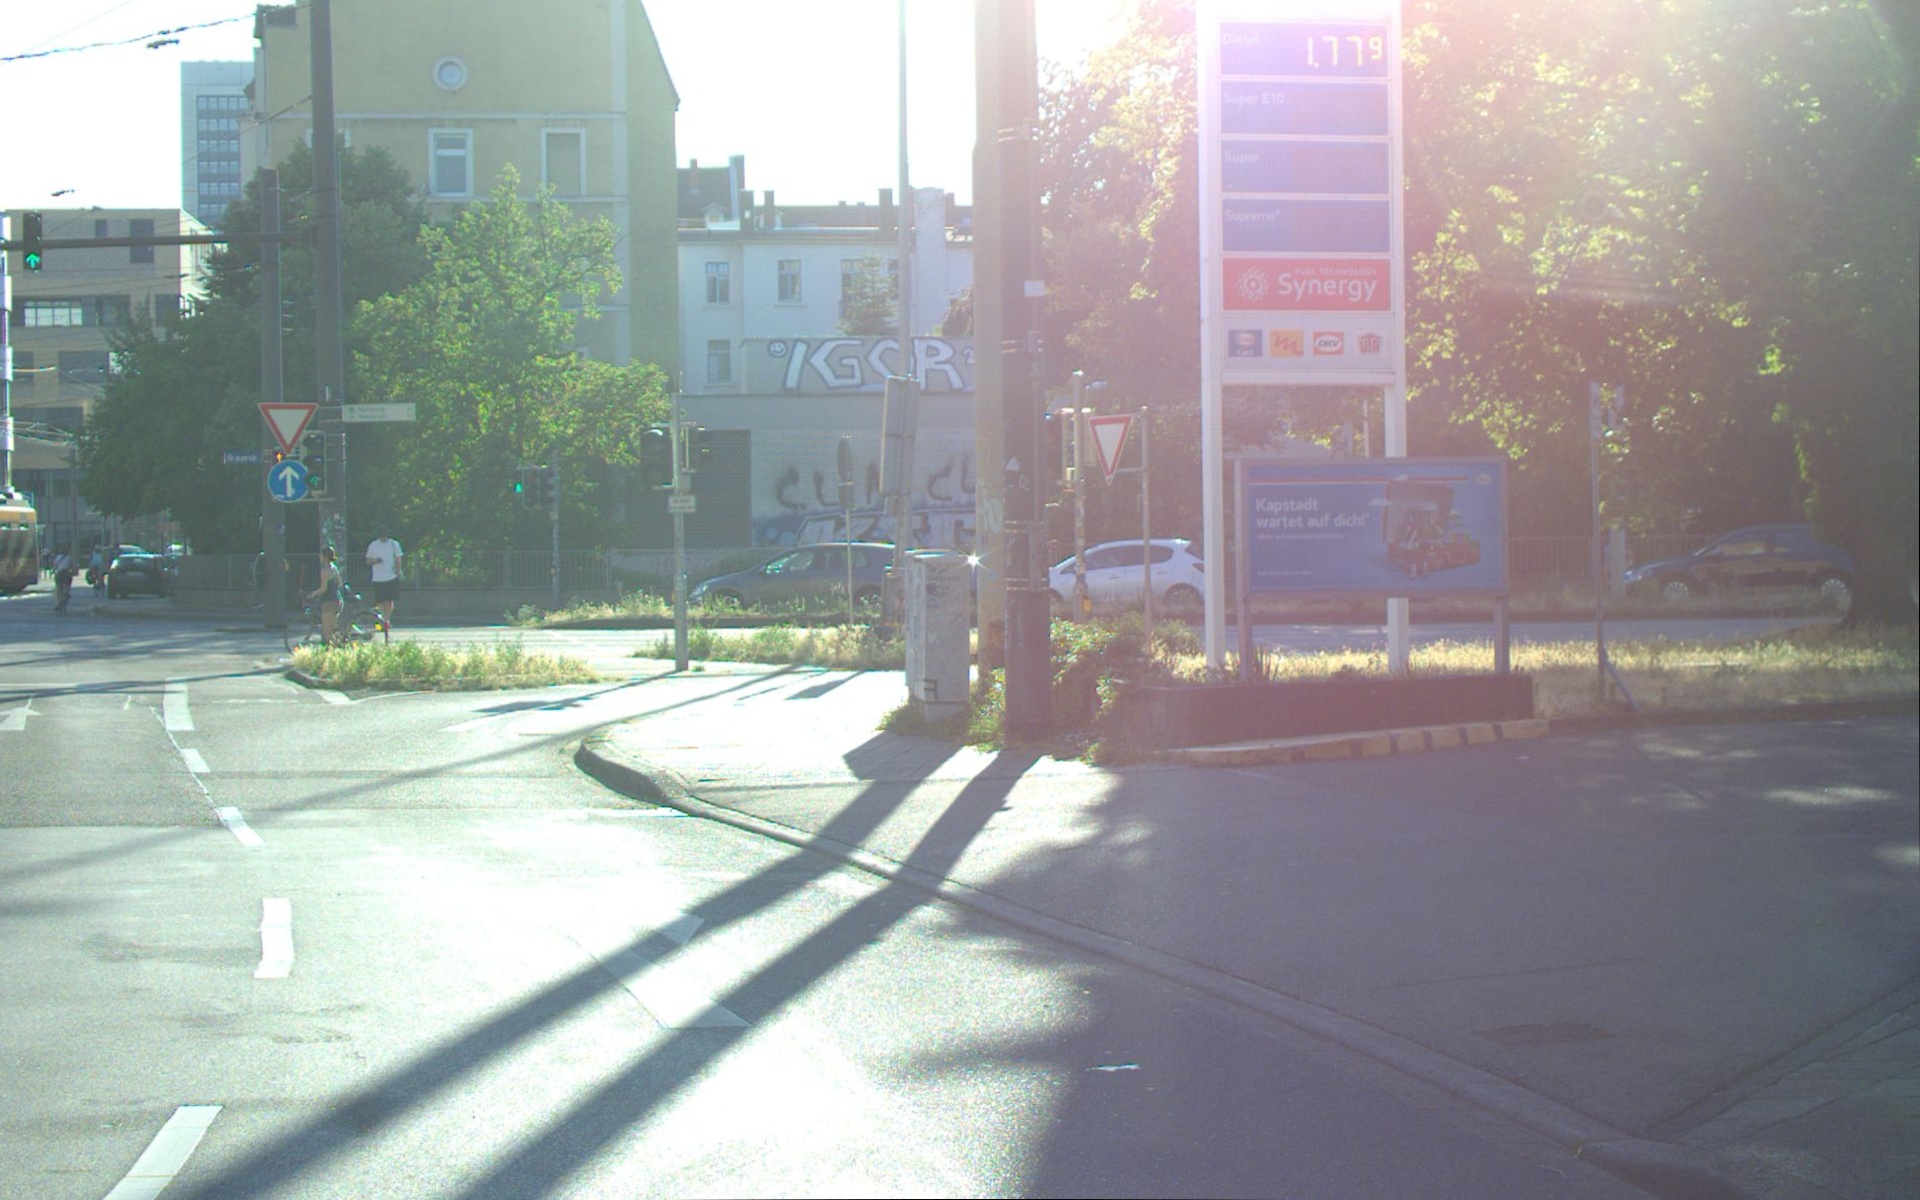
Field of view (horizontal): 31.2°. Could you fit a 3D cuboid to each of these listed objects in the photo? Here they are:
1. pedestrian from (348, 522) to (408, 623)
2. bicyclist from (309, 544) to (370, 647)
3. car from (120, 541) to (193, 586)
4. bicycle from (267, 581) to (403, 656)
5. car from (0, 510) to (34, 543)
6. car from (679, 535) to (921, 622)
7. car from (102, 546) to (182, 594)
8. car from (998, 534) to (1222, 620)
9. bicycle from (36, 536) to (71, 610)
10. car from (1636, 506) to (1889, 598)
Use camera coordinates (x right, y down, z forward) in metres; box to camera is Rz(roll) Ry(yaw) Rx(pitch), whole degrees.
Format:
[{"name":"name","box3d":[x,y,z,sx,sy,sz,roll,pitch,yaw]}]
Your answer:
[{"name":"pedestrian","box3d":[-9.873,-0.465,58.320,0.926,1.686,0.778,-1,1,-7]},{"name":"bicyclist","box3d":[-8.639,-0.059,47.900,0.803,1.409,0.624,-1,0,-9]},{"name":"car","box3d":[-27.979,-1.289,119.796,1.993,1.481,4.001,-2,1,-7]},{"name":"bicycle","box3d":[-8.698,0.250,47.882,1.832,0.981,0.734,-2,1,-10]},{"name":"car","box3d":[-43.008,-3.300,154.988,1.794,1.405,4.001,-1,1,-6]},{"name":"car","box3d":[-2.824,-0.384,60.976,3.988,1.448,1.809,-1,1,8]},{"name":"car","box3d":[-26.084,-0.963,109.751,1.993,1.459,4.001,-2,1,-7]},{"name":"car","box3d":[2.802,-0.440,63.856,3.988,1.502,1.672,-1,1,8]},{"name":"bicycle","box3d":[-22.362,-0.680,84.784,0.565,1.800,1.359,-1,1,-5]},{"name":"car","box3d":[13.635,-0.822,58.601,3.988,1.448,1.687,-1,1,6]}]
